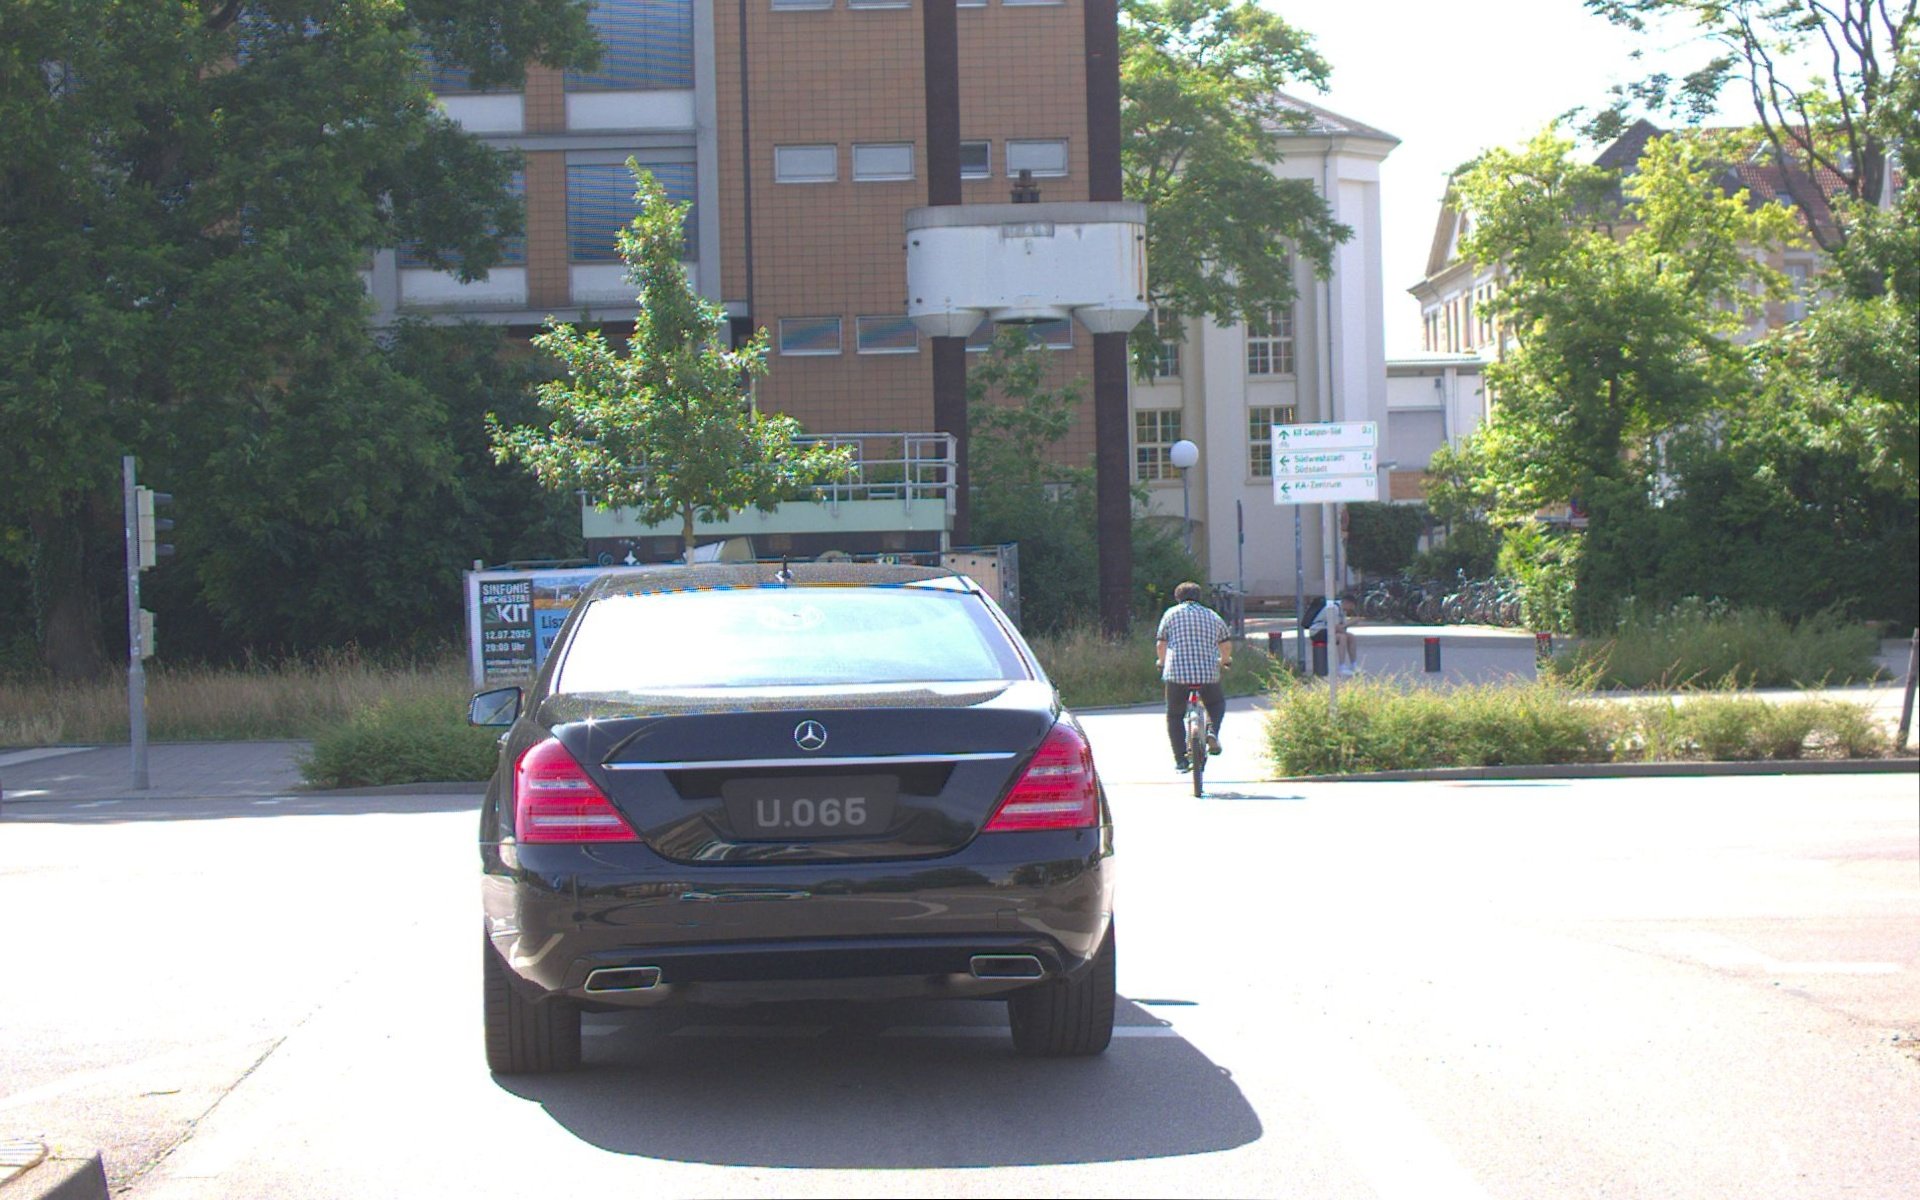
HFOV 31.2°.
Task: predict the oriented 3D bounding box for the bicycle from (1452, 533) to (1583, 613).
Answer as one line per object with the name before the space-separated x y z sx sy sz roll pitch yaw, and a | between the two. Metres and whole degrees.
bicycle | 12.856 -0.620 79.299 2.823 1.738 0.842 -2 1 -1

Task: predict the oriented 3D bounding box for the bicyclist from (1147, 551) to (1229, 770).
bicyclist | 1.973 0.515 29.844 0.686 1.872 0.859 0 0 3

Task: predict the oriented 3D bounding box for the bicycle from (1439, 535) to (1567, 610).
bicycle | 12.721 -0.651 80.622 2.823 1.643 0.842 -2 1 -1

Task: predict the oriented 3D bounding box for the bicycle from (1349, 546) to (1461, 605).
bicycle | 11.899 -0.656 91.989 2.823 1.475 0.842 -2 1 -1

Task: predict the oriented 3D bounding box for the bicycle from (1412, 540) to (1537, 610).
bicycle | 12.387 -0.599 82.823 2.823 1.581 0.842 -2 1 -1

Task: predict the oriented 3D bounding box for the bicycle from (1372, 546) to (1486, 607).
bicycle | 12.283 -0.622 90.061 2.823 1.495 0.842 -2 1 -1

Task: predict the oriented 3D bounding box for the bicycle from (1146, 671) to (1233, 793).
bicycle | 1.952 1.113 29.412 0.692 0.943 1.958 1 0 3

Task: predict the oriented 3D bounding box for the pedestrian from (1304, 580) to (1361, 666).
pedestrian | 5.351 0.322 49.340 0.793 1.209 0.757 1 0 6

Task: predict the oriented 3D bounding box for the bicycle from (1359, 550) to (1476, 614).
bicycle | 11.673 -0.461 87.799 2.823 1.553 0.842 -2 1 -1

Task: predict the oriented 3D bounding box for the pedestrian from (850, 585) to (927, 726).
pedestrian | -0.813 0.627 39.293 0.811 1.574 0.692 -2 0 1

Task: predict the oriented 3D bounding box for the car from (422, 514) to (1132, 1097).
car | -0.549 0.627 11.416 1.858 1.525 4.713 0 -2 -2

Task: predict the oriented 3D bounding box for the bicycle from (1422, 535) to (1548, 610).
bicycle | 12.471 -0.662 81.756 2.823 1.653 0.842 -2 2 -1

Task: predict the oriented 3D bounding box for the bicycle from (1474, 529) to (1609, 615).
bicycle | 13.017 -0.627 77.039 2.823 1.830 0.842 -2 1 -1
